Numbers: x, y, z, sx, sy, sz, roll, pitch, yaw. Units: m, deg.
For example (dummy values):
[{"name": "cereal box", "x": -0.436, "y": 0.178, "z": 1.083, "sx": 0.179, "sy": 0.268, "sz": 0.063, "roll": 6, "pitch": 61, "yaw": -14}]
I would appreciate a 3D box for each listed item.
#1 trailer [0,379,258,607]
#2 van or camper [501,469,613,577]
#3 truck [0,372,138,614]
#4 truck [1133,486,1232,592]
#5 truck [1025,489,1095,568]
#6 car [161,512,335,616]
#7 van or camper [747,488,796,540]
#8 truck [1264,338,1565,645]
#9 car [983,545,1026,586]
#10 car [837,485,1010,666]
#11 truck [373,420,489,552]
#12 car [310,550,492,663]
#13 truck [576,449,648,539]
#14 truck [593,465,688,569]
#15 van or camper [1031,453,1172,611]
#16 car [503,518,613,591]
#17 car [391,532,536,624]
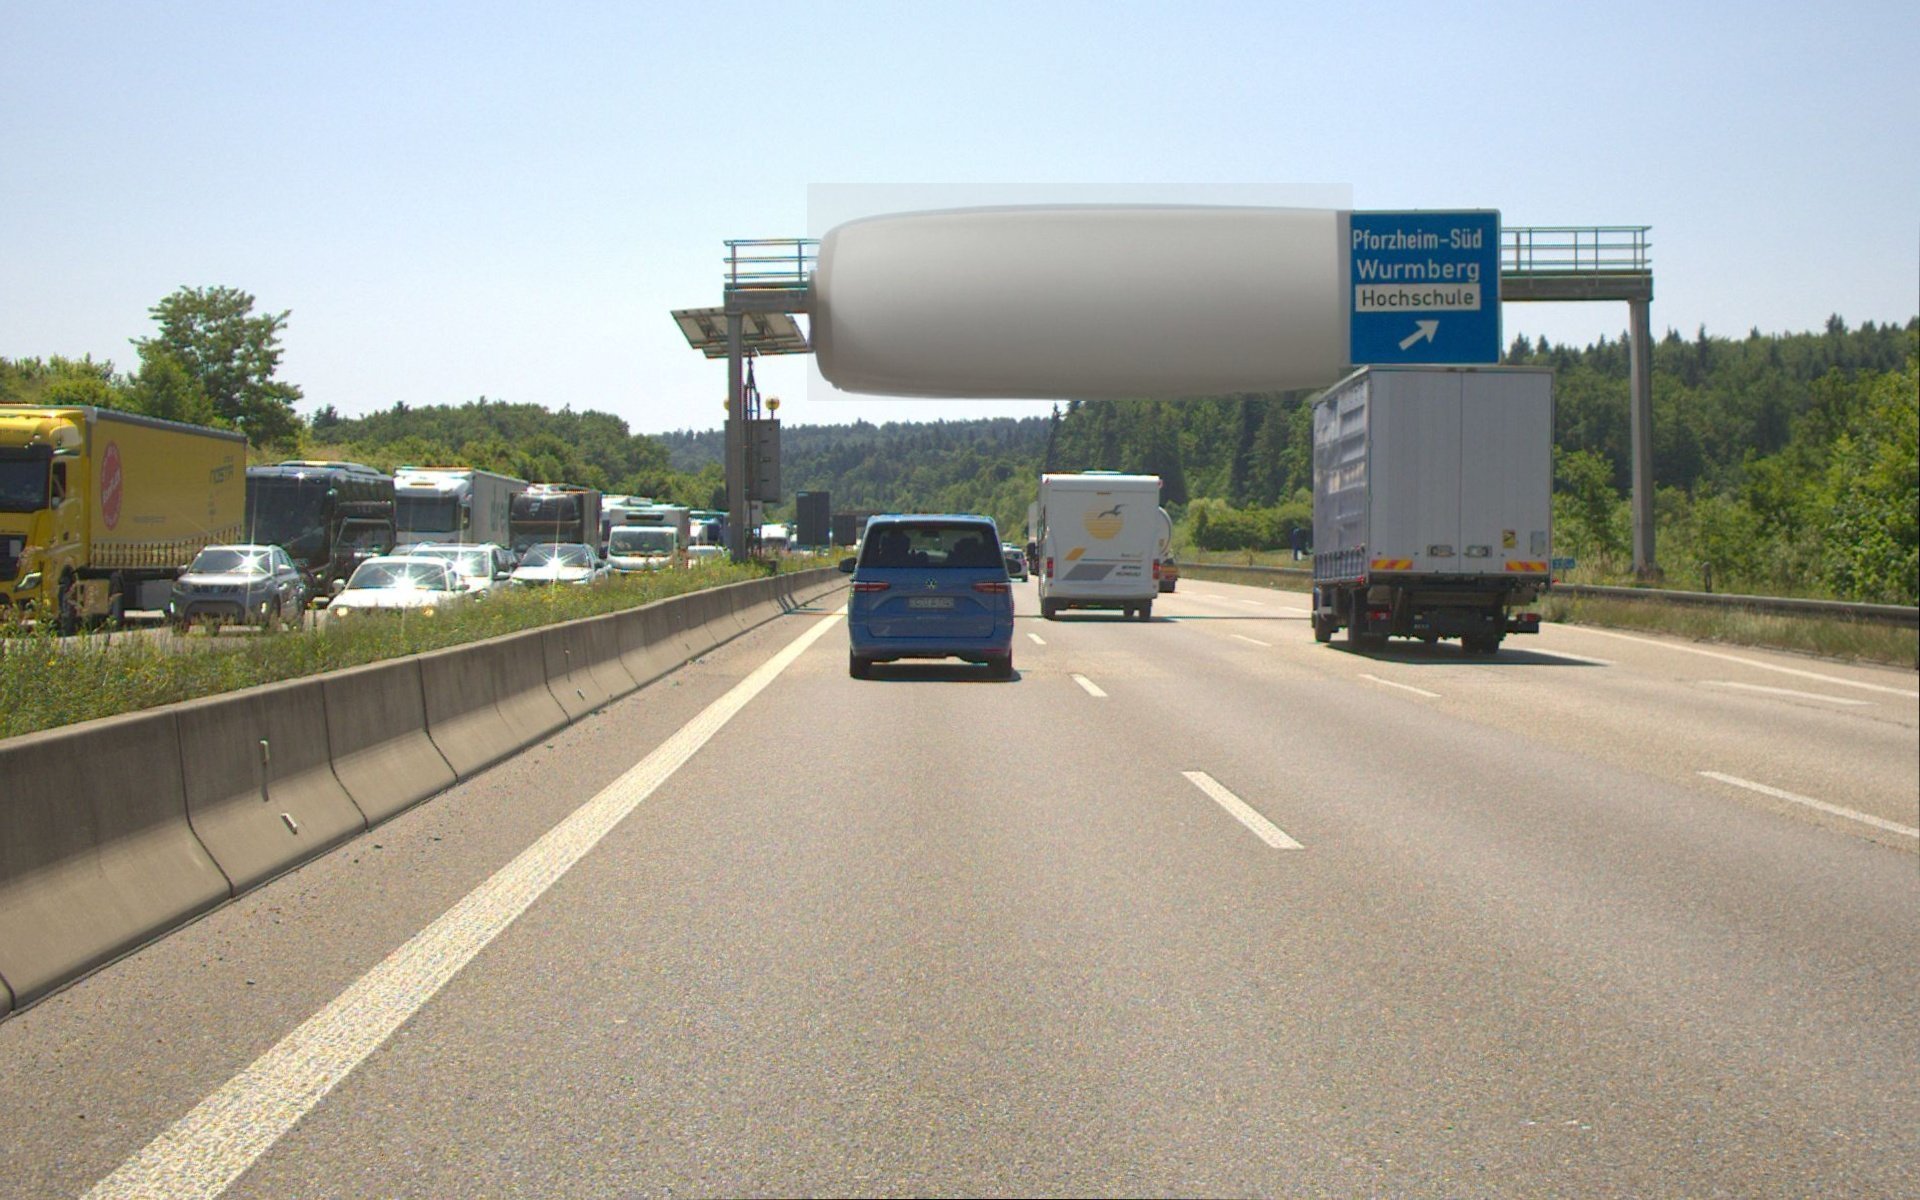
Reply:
[{"name": "trailer", "x": -16.585, "y": -2.028, "z": 68.674, "sx": 2.650, "sy": 4.130, "sz": 11.856, "roll": 1, "pitch": 1, "yaw": 0}, {"name": "van or camper", "x": -12.985, "y": -2.456, "z": 111.381, "sx": 2.529, "sy": 3.348, "sz": 7.943, "roll": 1, "pitch": 1, "yaw": 1}, {"name": "truck", "x": -16.576, "y": -1.848, "z": 60.947, "sx": 2.602, "sy": 4.050, "sz": 6.133, "roll": 1, "pitch": 1, "yaw": -1}, {"name": "truck", "x": 7.855, "y": -2.233, "z": 122.241, "sx": 2.928, "sy": 3.562, "sz": 8.527, "roll": -1, "pitch": 2, "yaw": 0}, {"name": "truck", "x": 5.389, "y": -3.838, "z": 186.920, "sx": 3.487, "sy": 4.156, "sz": 8.642, "roll": 1, "pitch": 1, "yaw": 0}, {"name": "car", "x": -12.547, "y": -0.643, "z": 60.936, "sx": 1.862, "sy": 1.746, "sz": 5.902, "roll": 1, "pitch": 1, "yaw": 0}, {"name": "van or camper", "x": -9.600, "y": -4.358, "z": 175.491, "sx": 2.193, "sy": 2.532, "sz": 6.417, "roll": -1, "pitch": 1, "yaw": -1}, {"name": "truck", "x": 6.576, "y": -1.530, "z": 51.326, "sx": 2.783, "sy": 4.114, "sz": 9.741, "roll": 1, "pitch": 1, "yaw": -2}, {"name": "car", "x": 1.957, "y": -1.554, "z": 152.881, "sx": 1.818, "sy": 1.788, "sz": 3.894, "roll": 1, "pitch": 1, "yaw": 0}, {"name": "car", "x": -0.443, "y": -0.302, "z": 40.541, "sx": 1.909, "sy": 2.007, "sz": 4.000, "roll": -1, "pitch": 1, "yaw": -1}, {"name": "truck", "x": -17.087, "y": -3.627, "z": 111.500, "sx": 2.781, "sy": 4.100, "sz": 7.030, "roll": -1, "pitch": 1, "yaw": -1}, {"name": "car", "x": -7.880, "y": 0.058, "z": 48.871, "sx": 1.811, "sy": 1.508, "sz": 4.818, "roll": 1, "pitch": 1, "yaw": 0}, {"name": "truck", "x": -16.531, "y": -5.005, "z": 163.577, "sx": 2.801, "sy": 4.113, "sz": 6.141, "roll": 1, "pitch": 1, "yaw": 0}, {"name": "truck", "x": -9.004, "y": -2.330, "z": 97.434, "sx": 2.120, "sy": 2.832, "sz": 6.212, "roll": 1, "pitch": 1, "yaw": 0}, {"name": "van or camper", "x": 2.908, "y": -1.518, "z": 72.660, "sx": 2.603, "sy": 3.067, "sz": 7.183, "roll": 1, "pitch": 3, "yaw": 0}, {"name": "car", "x": -8.643, "y": -0.985, "z": 74.255, "sx": 1.811, "sy": 1.508, "sz": 5.030, "roll": 1, "pitch": 1, "yaw": 0}, {"name": "car", "x": -8.560, "y": -0.400, "z": 59.637, "sx": 1.811, "sy": 1.508, "sz": 5.030, "roll": 1, "pitch": 1, "yaw": 0}]
